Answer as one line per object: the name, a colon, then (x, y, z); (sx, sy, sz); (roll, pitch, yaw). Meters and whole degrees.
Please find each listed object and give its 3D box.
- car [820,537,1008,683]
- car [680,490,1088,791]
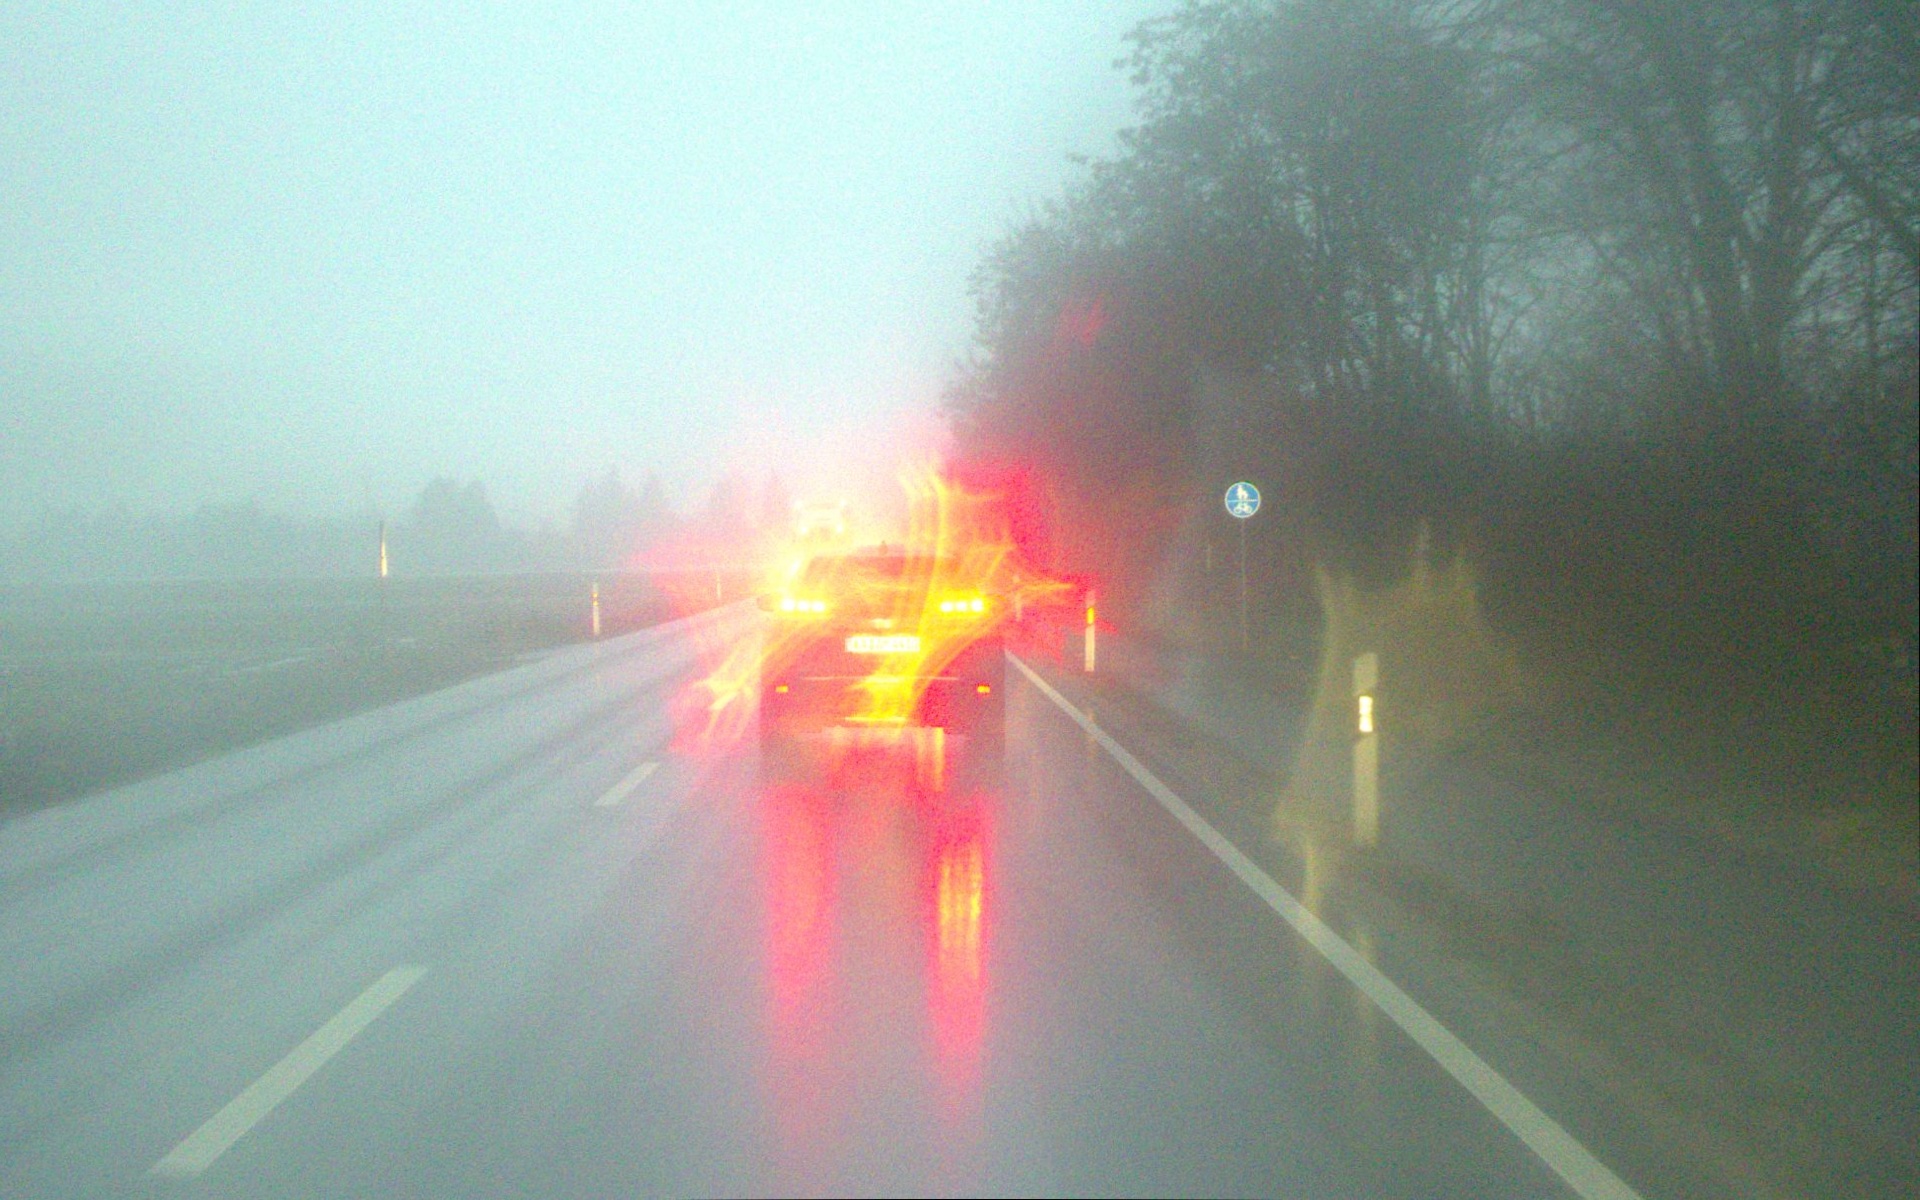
car: (-0.666, 0.109, 50.711); (2.592, 2.007, 5.804); (0, 1, -1)
car: (-0.556, 0.254, 26.818); (2.820, 2.070, 5.804); (0, 1, -1)
